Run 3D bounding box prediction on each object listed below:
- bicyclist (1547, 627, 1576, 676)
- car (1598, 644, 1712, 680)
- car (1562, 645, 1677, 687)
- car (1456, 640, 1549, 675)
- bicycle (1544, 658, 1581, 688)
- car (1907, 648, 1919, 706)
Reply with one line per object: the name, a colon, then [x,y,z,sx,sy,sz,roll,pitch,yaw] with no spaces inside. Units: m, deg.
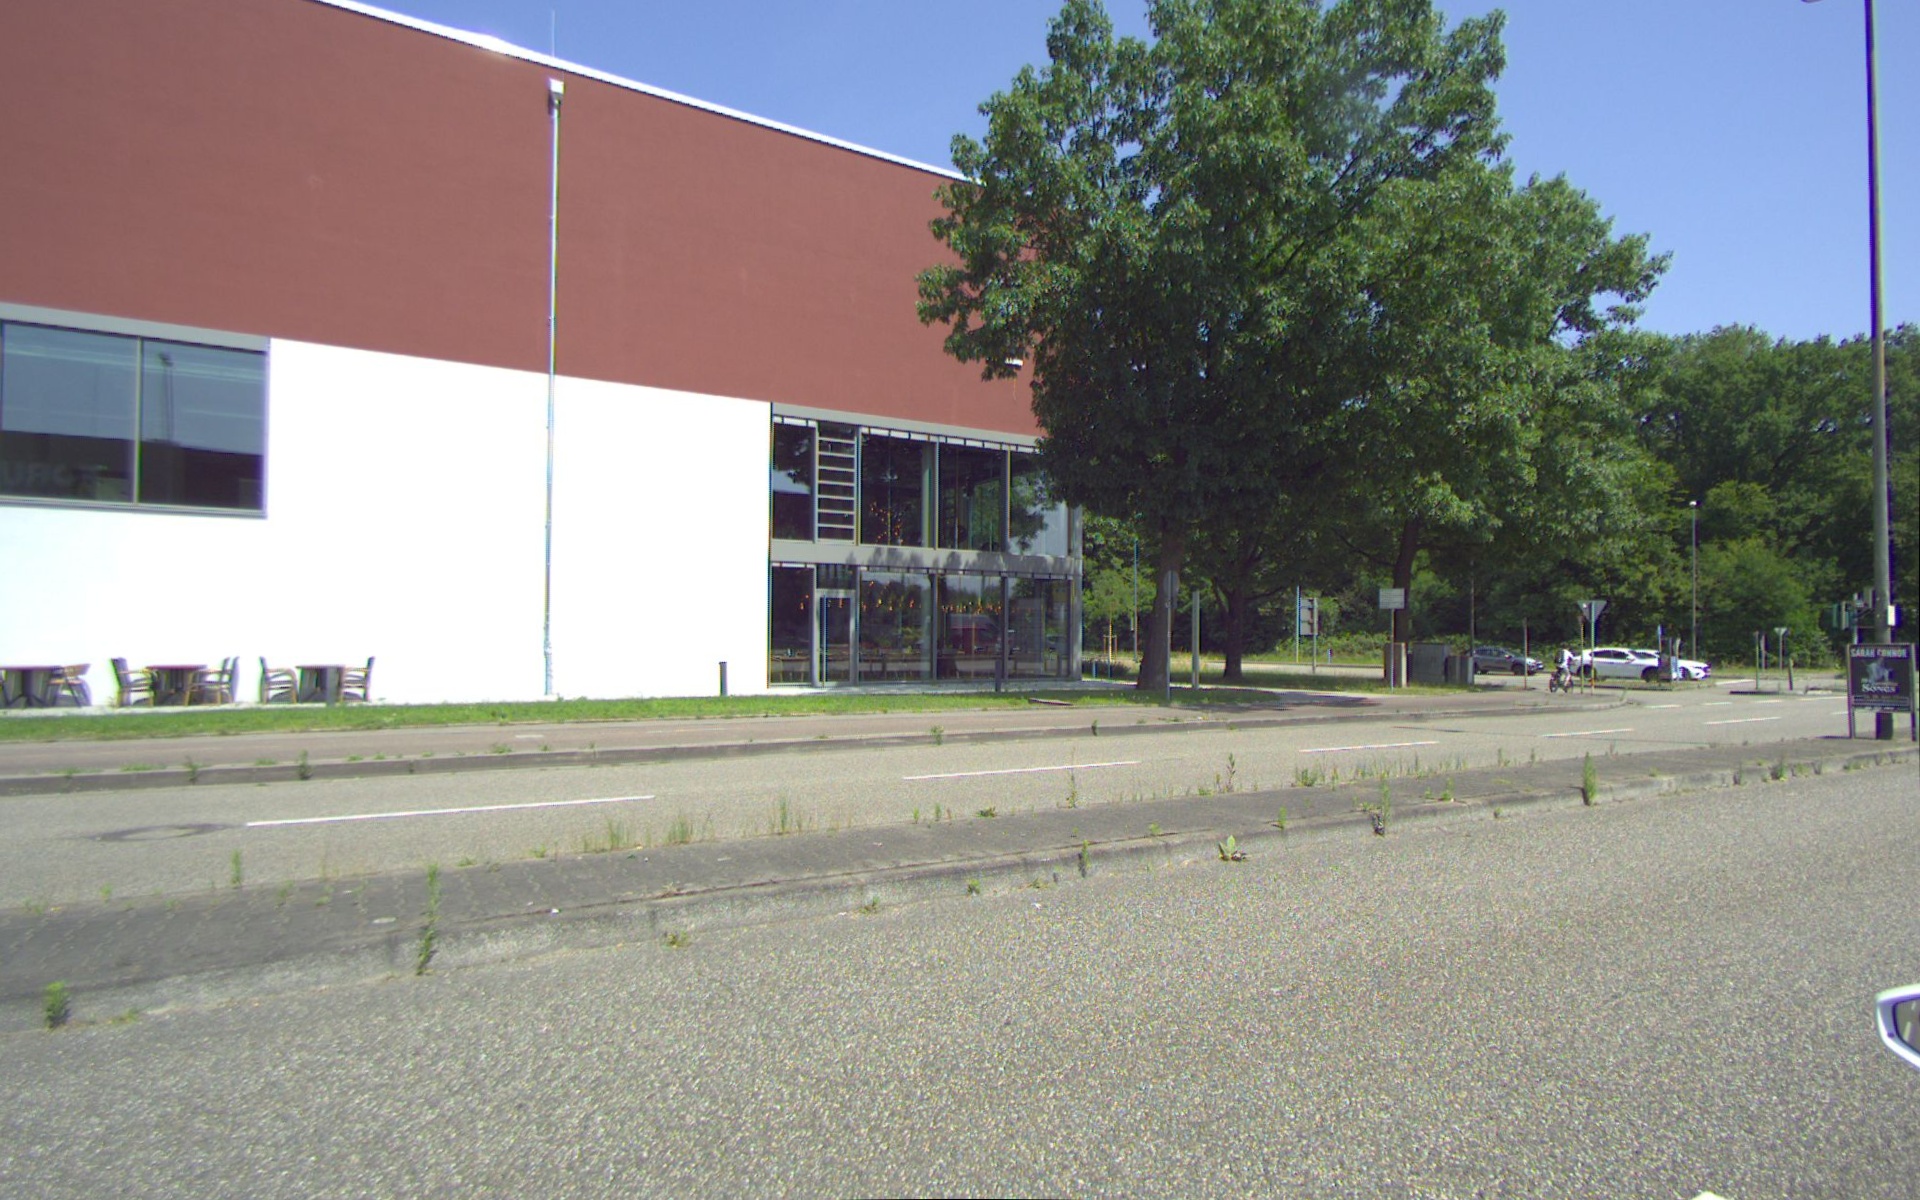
bicyclist: [20.677,1.762,34.516,0.916,1.652,0.602,2,-2,-41]
car: [35.213,3.173,50.991,1.794,1.703,4.341,2,-6,-37]
car: [32.054,3.169,48.902,1.794,1.704,4.338,2,-1,-37]
car: [30.878,3.269,57.255,1.796,1.704,4.333,3,-1,-40]
bicycle: [20.731,2.495,34.549,1.647,0.982,0.612,2,-2,-41]
car: [24.427,1.788,23.839,3.954,1.353,1.797,2,-5,-31]
